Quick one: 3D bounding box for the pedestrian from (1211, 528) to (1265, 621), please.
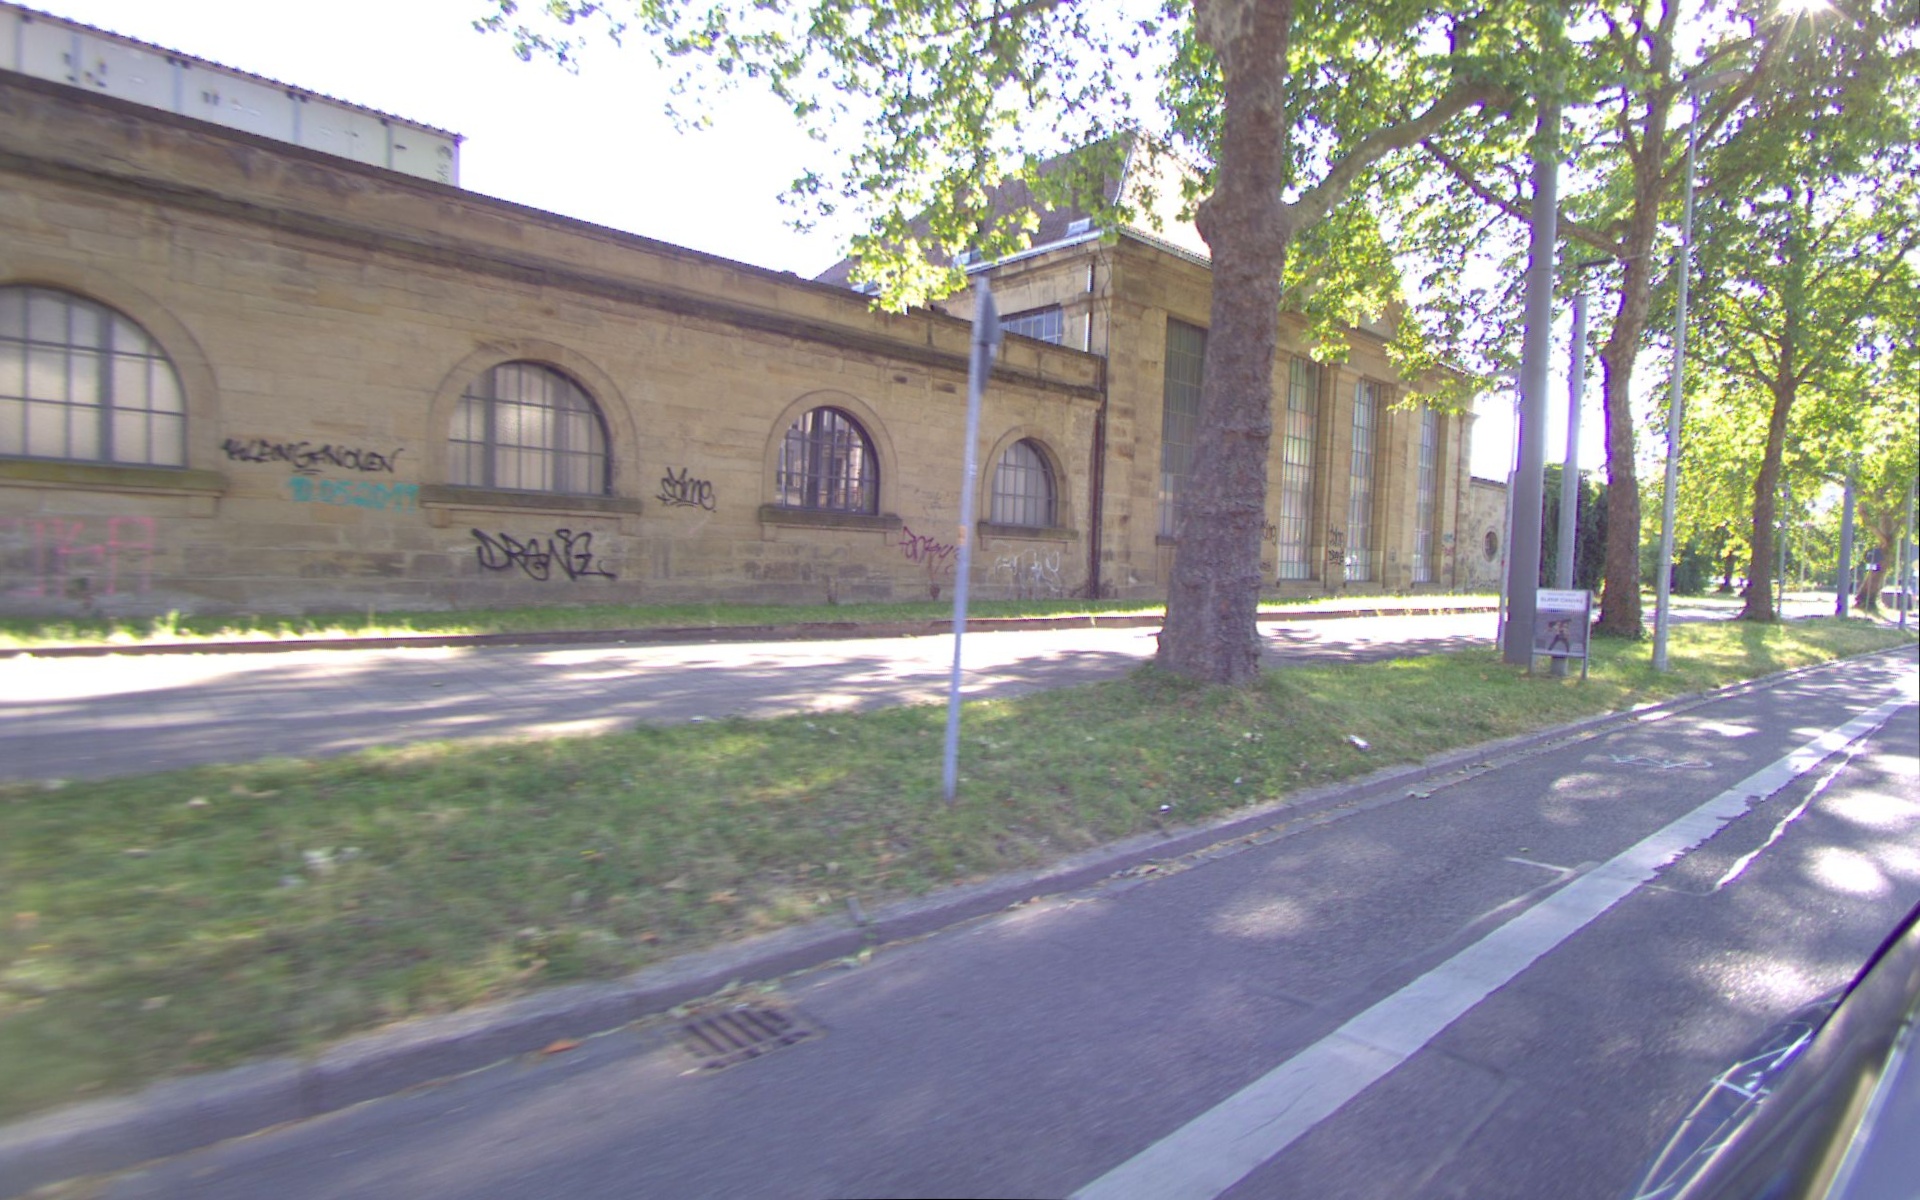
[{"bbox_3d":[5.285,-0.487,19.237,0.626,1.701,0.609,0,7,-45],"label":"pedestrian"}]
